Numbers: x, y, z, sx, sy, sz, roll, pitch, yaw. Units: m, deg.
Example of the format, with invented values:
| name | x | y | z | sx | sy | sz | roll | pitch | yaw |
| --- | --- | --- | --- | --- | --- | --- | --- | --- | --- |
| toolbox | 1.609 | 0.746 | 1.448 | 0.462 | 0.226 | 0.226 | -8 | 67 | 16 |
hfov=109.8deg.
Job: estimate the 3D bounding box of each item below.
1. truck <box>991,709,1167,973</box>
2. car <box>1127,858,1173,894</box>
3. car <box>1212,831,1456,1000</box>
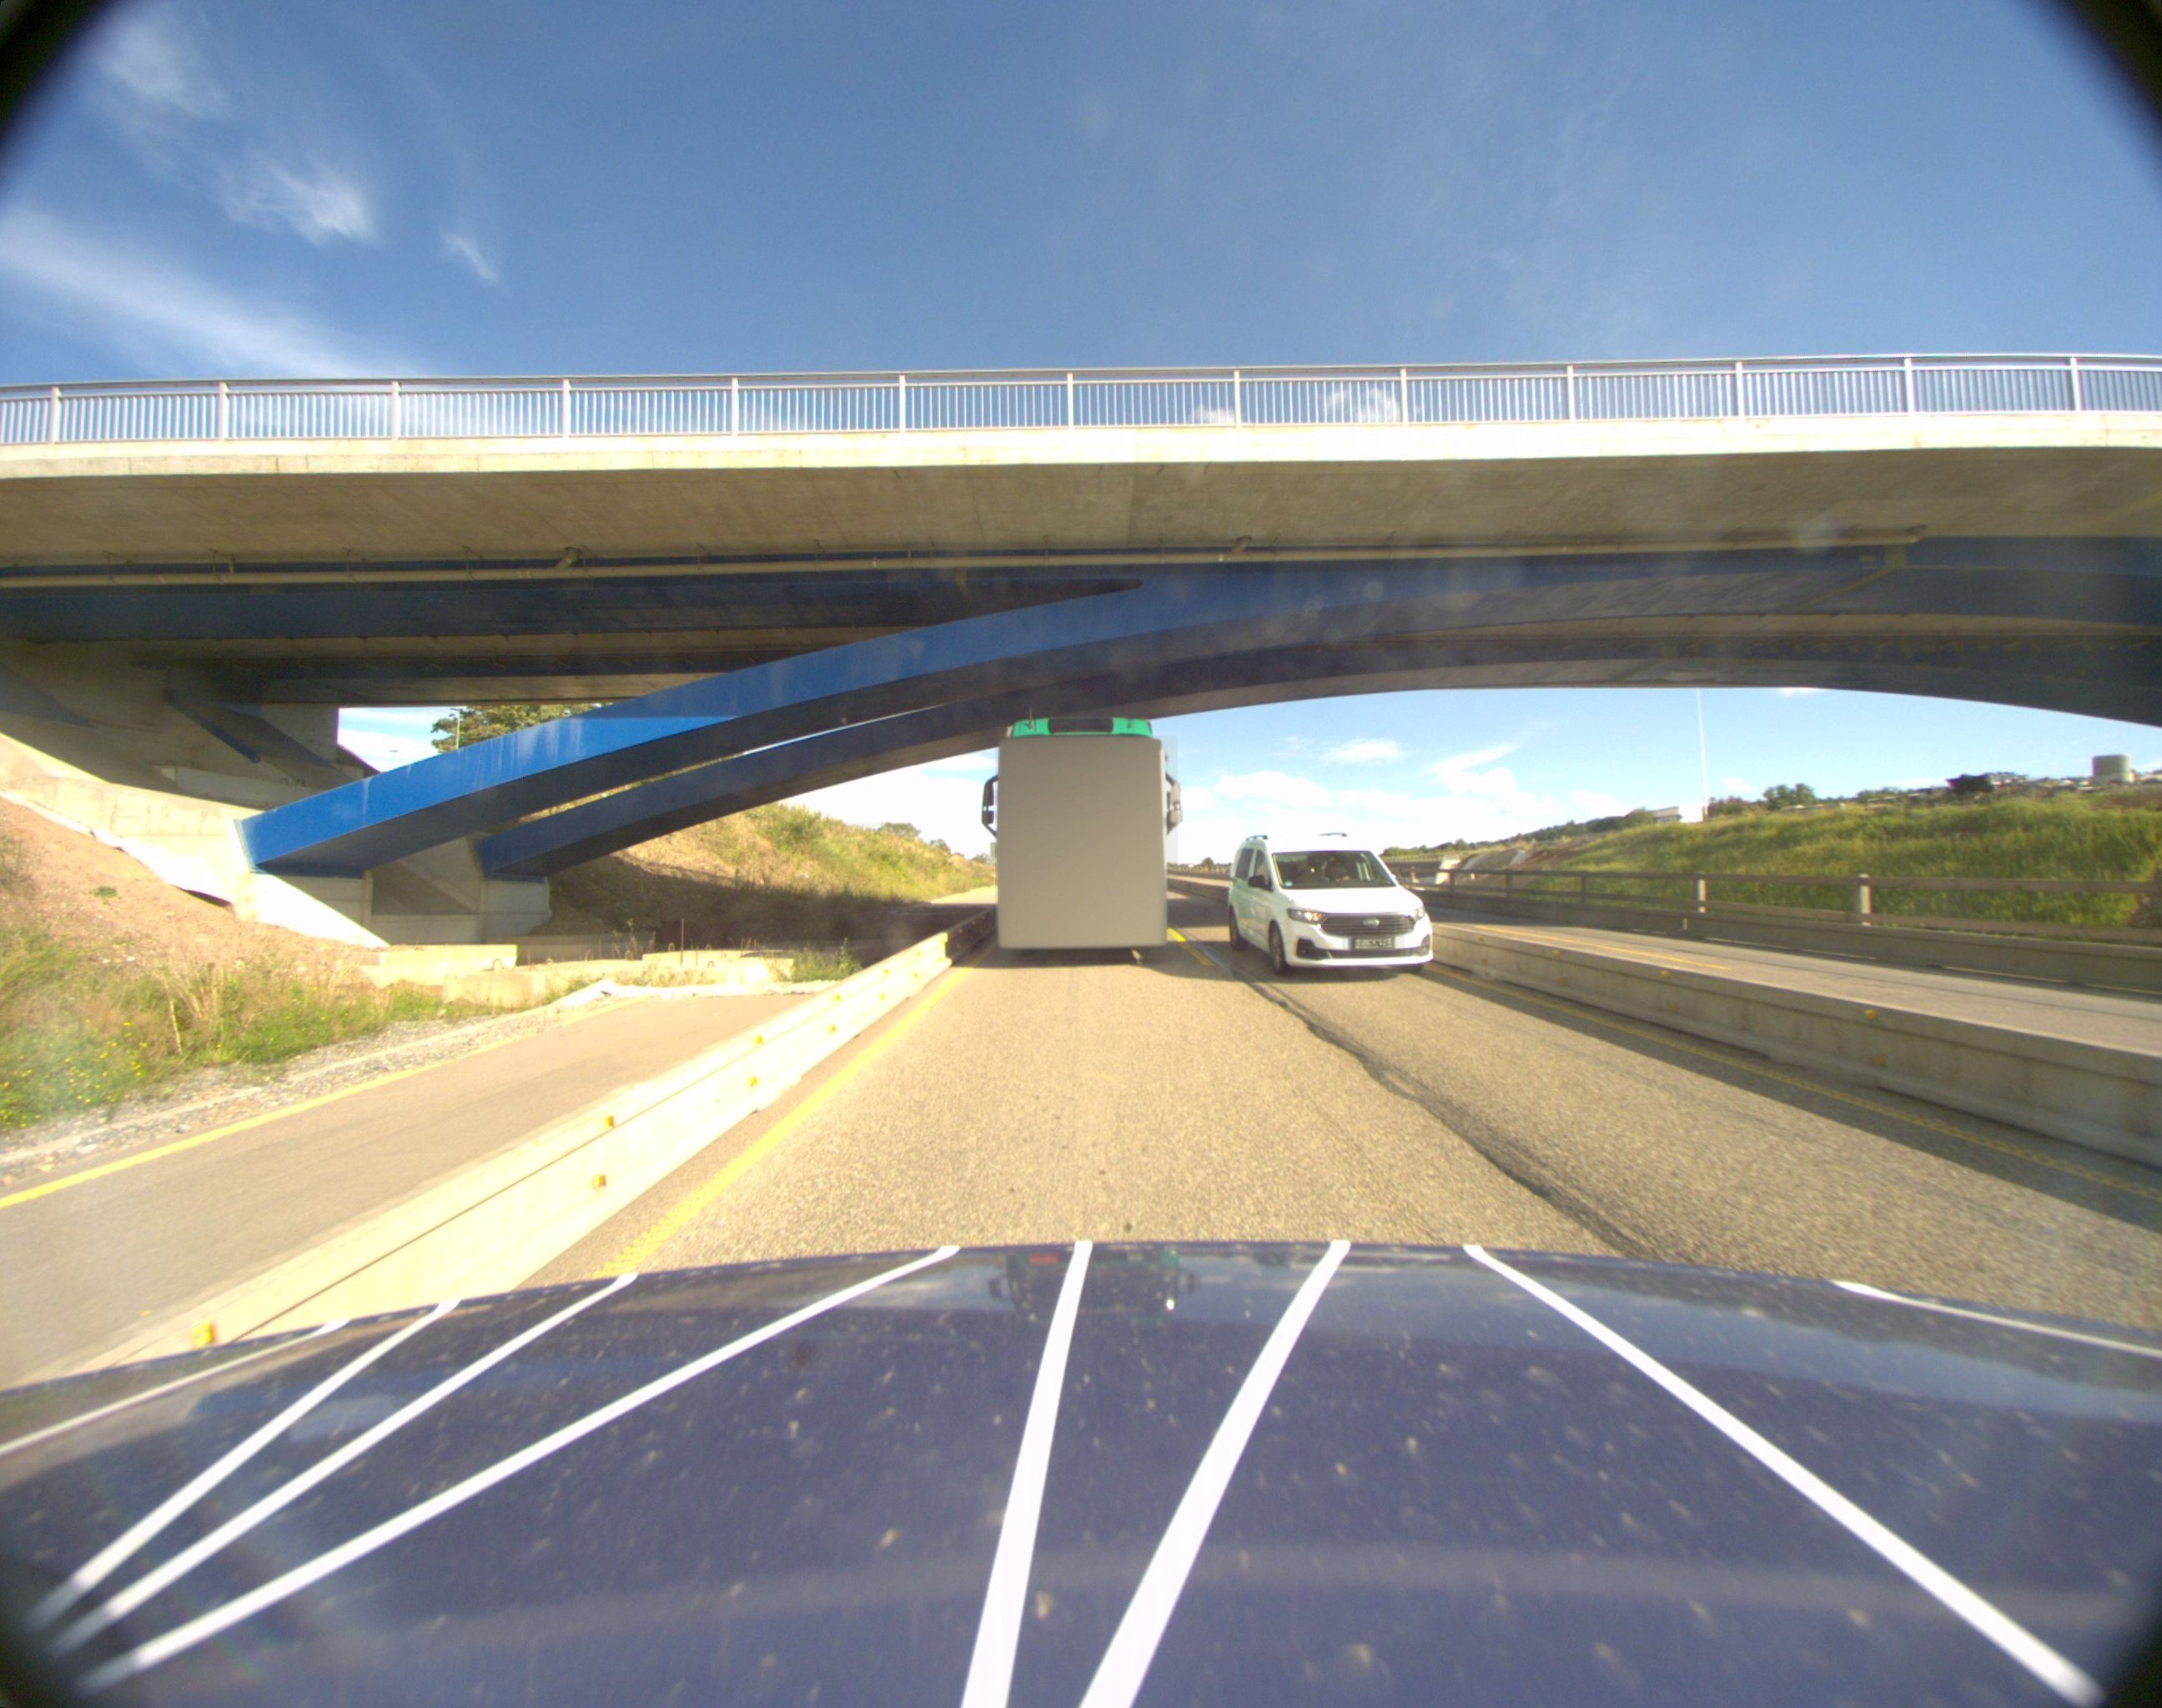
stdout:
| name | x | y | z | sx | sy | sz | roll | pitch | yaw |
| --- | --- | --- | --- | --- | --- | --- | --- | --- | --- |
| truck | -0.090 | -0.187 | 15.524 | 2.546 | 3.899 | 8.278 | -1 | 0 | -1 |
| car | 3.177 | 0.970 | 35.557 | 1.719 | 1.499 | 3.999 | -2 | 0 | -1 |
| car | 3.246 | 0.711 | 10.795 | 1.828 | 1.813 | 4.456 | -3 | 0 | -1 |
